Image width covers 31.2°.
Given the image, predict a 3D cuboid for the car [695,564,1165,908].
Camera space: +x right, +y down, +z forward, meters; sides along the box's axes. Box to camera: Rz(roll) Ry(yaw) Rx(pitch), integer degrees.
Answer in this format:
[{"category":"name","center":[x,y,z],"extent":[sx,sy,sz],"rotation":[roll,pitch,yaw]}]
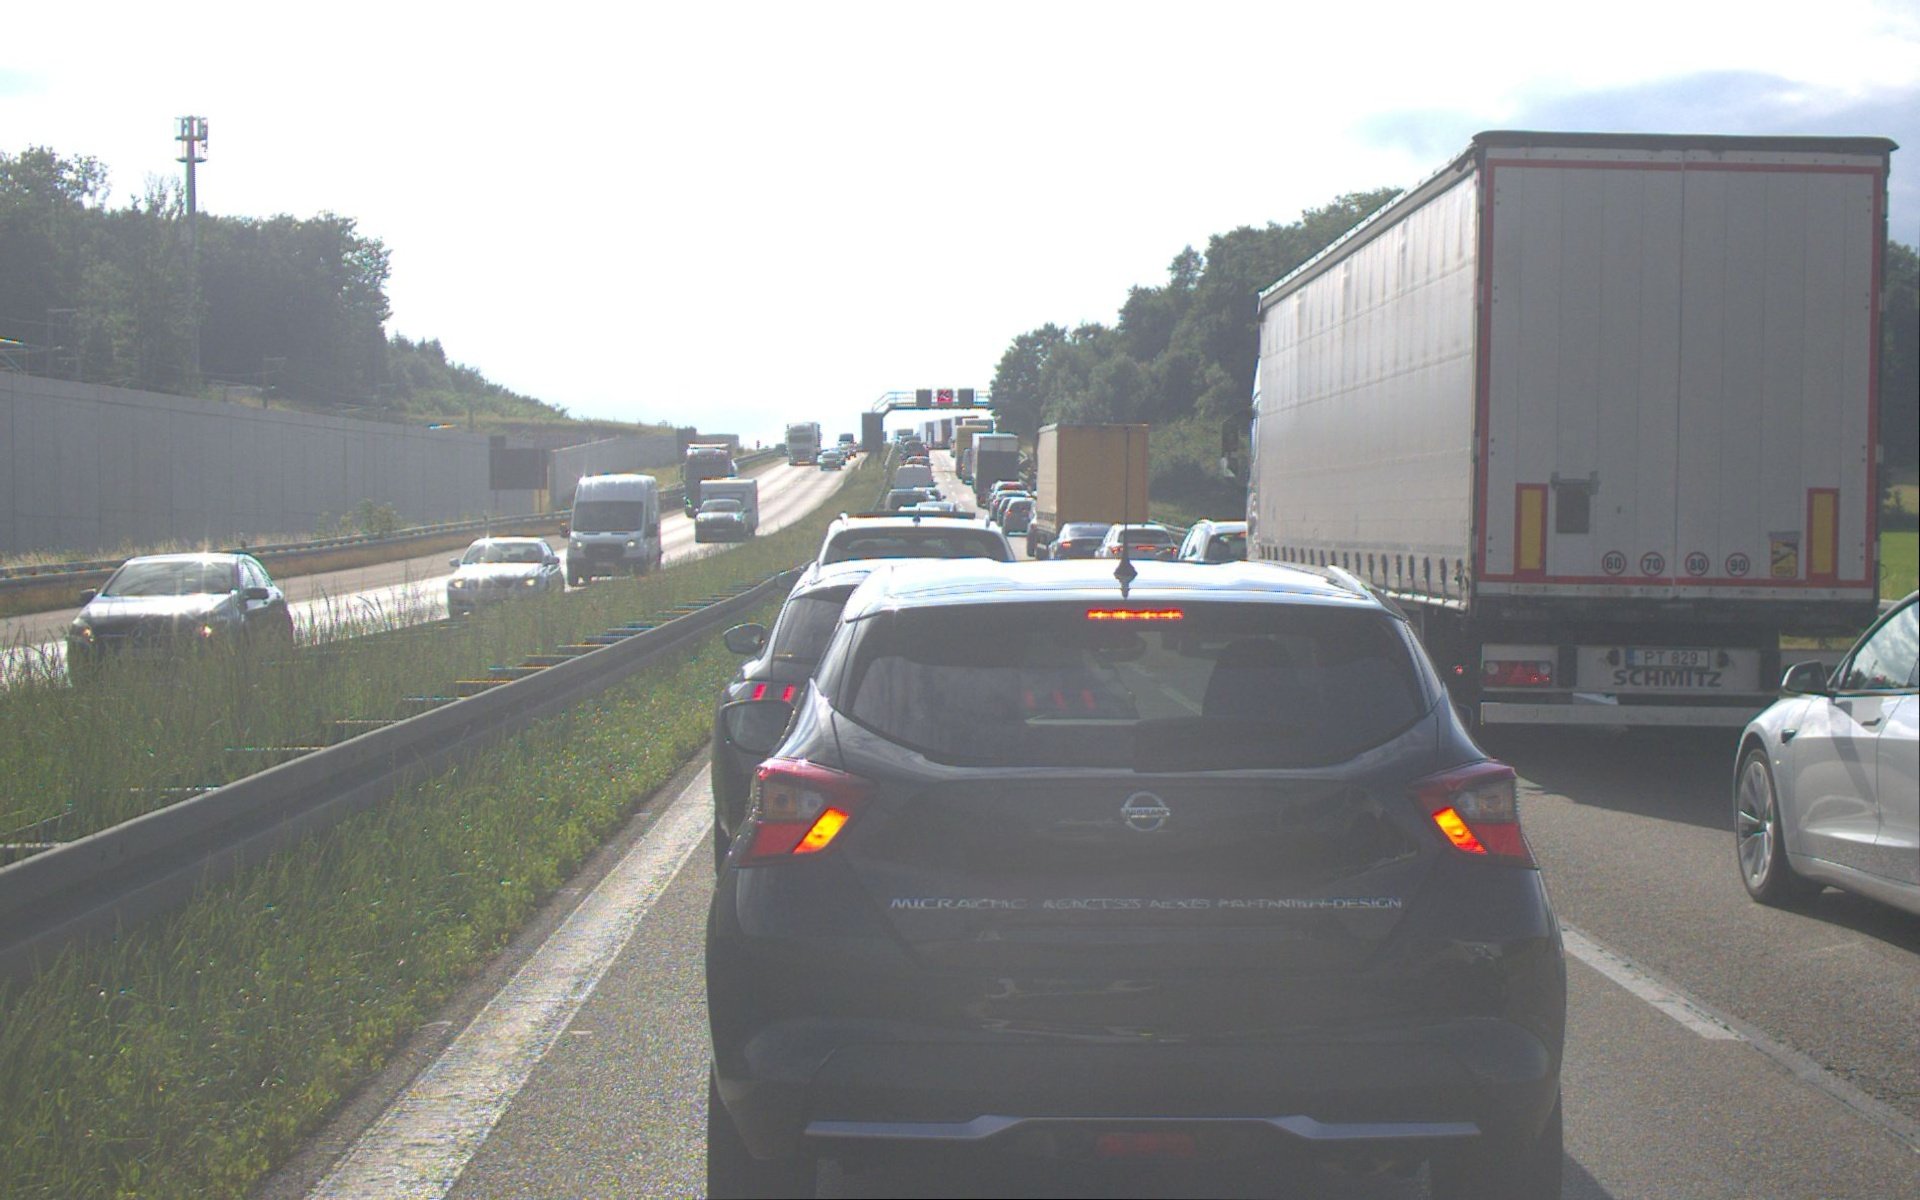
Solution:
[{"category":"car","center":[-0.135,0.519,15.816],"extent":[1.873,1.353,4.232],"rotation":[0,1,0]}]

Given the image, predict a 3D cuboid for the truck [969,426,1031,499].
[{"category":"truck","center":[2.553,-9.023,226.082],"extent":[3.464,4.561,12.443],"rotation":[1,2,-2]}]

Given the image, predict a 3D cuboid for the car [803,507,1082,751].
[{"category":"car","center":[-0.133,0.166,25.207],"extent":[1.873,1.638,4.232],"rotation":[0,1,0]}]

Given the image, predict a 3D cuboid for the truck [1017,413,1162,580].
[{"category":"truck","center":[3.687,-2.897,101.299],"extent":[3.296,4.562,12.442],"rotation":[1,0,-2]}]

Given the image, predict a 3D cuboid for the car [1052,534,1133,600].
[{"category":"car","center":[3.373,-0.864,87.896],"extent":[1.873,1.638,4.232],"rotation":[0,1,0]}]

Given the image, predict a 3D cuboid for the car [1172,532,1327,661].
[{"category":"car","center":[3.756,-0.076,45.176],"extent":[1.697,1.605,4.437],"rotation":[0,1,1]}]

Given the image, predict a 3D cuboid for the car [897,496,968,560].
[{"category":"car","center":[-0.748,-1.974,93.574],"extent":[1.873,1.638,4.233],"rotation":[0,2,0]}]

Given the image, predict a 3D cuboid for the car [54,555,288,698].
[{"category":"car","center":[-8.405,0.246,36.920],"extent":[1.651,1.446,3.956],"rotation":[0,1,-1]}]

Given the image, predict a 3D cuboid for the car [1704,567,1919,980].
[{"category":"car","center":[4.176,0.601,12.664],"extent":[1.788,1.389,4.437],"rotation":[0,1,-2]}]

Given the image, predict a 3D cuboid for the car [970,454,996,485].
[{"category":"car","center":[1.704,-9.695,255.689],"extent":[1.873,2.151,5.212],"rotation":[0,4,-1]}]

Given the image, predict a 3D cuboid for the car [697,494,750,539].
[{"category":"car","center":[-9.471,-3.369,137.845],"extent":[1.910,1.665,4.363],"rotation":[0,3,-1]}]

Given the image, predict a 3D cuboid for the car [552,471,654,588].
[{"category":"car","center":[-8.987,-1.768,87.006],"extent":[2.104,2.860,5.637],"rotation":[0,1,-1]}]

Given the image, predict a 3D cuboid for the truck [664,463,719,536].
[{"category":"truck","center":[-14.748,-5.481,188.907],"extent":[2.582,3.909,5.722],"rotation":[-1,1,-1]}]

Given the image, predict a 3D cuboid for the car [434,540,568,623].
[{"category":"car","center":[-8.243,-0.353,62.057],"extent":[1.873,1.446,4.232],"rotation":[0,1,-1]}]

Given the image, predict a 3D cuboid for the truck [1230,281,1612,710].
[{"category":"truck","center":[4.542,-0.988,34.959],"extent":[3.133,4.002,5.163],"rotation":[1,0,0]}]

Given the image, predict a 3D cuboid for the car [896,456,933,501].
[{"category":"car","center":[-2.356,-6.287,177.391],"extent":[1.873,2.151,5.212],"rotation":[0,4,-1]}]

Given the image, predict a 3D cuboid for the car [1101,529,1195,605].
[{"category":"car","center":[4.251,-0.777,78.307],"extent":[1.873,1.638,4.233],"rotation":[0,2,0]}]

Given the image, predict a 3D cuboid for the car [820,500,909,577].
[{"category":"car","center":[-2.091,-1.383,76.159],"extent":[1.873,1.638,4.233],"rotation":[0,2,0]}]

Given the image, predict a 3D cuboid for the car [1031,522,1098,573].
[{"category":"car","center":[3.372,-1.722,111.937],"extent":[1.873,1.638,4.233],"rotation":[0,1,-2]}]

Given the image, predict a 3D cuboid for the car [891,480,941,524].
[{"category":"car","center":[-1.716,-3.820,133.654],"extent":[1.873,1.638,4.233],"rotation":[0,2,-2]}]

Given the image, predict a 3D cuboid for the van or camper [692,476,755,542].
[{"category":"van or camper","center":[-9.839,-3.768,143.600],"extent":[2.252,2.694,7.171],"rotation":[0,1,-1]}]

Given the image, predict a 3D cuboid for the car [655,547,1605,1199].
[{"category":"car","center":[0.303,0.596,8.539],"extent":[1.773,1.446,4.232],"rotation":[0,1,0]}]

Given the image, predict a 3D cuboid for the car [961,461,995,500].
[{"category":"car","center":[1.022,-6.986,200.604],"extent":[1.873,2.151,5.212],"rotation":[0,4,-1]}]

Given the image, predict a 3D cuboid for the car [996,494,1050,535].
[{"category":"car","center":[2.615,-3.599,143.562],"extent":[1.873,1.638,4.233],"rotation":[0,2,-4]}]

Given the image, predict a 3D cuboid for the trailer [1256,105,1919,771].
[{"category":"trailer","center":[4.548,-0.980,27.517],"extent":[3.130,3.997,13.366],"rotation":[1,0,0]}]
